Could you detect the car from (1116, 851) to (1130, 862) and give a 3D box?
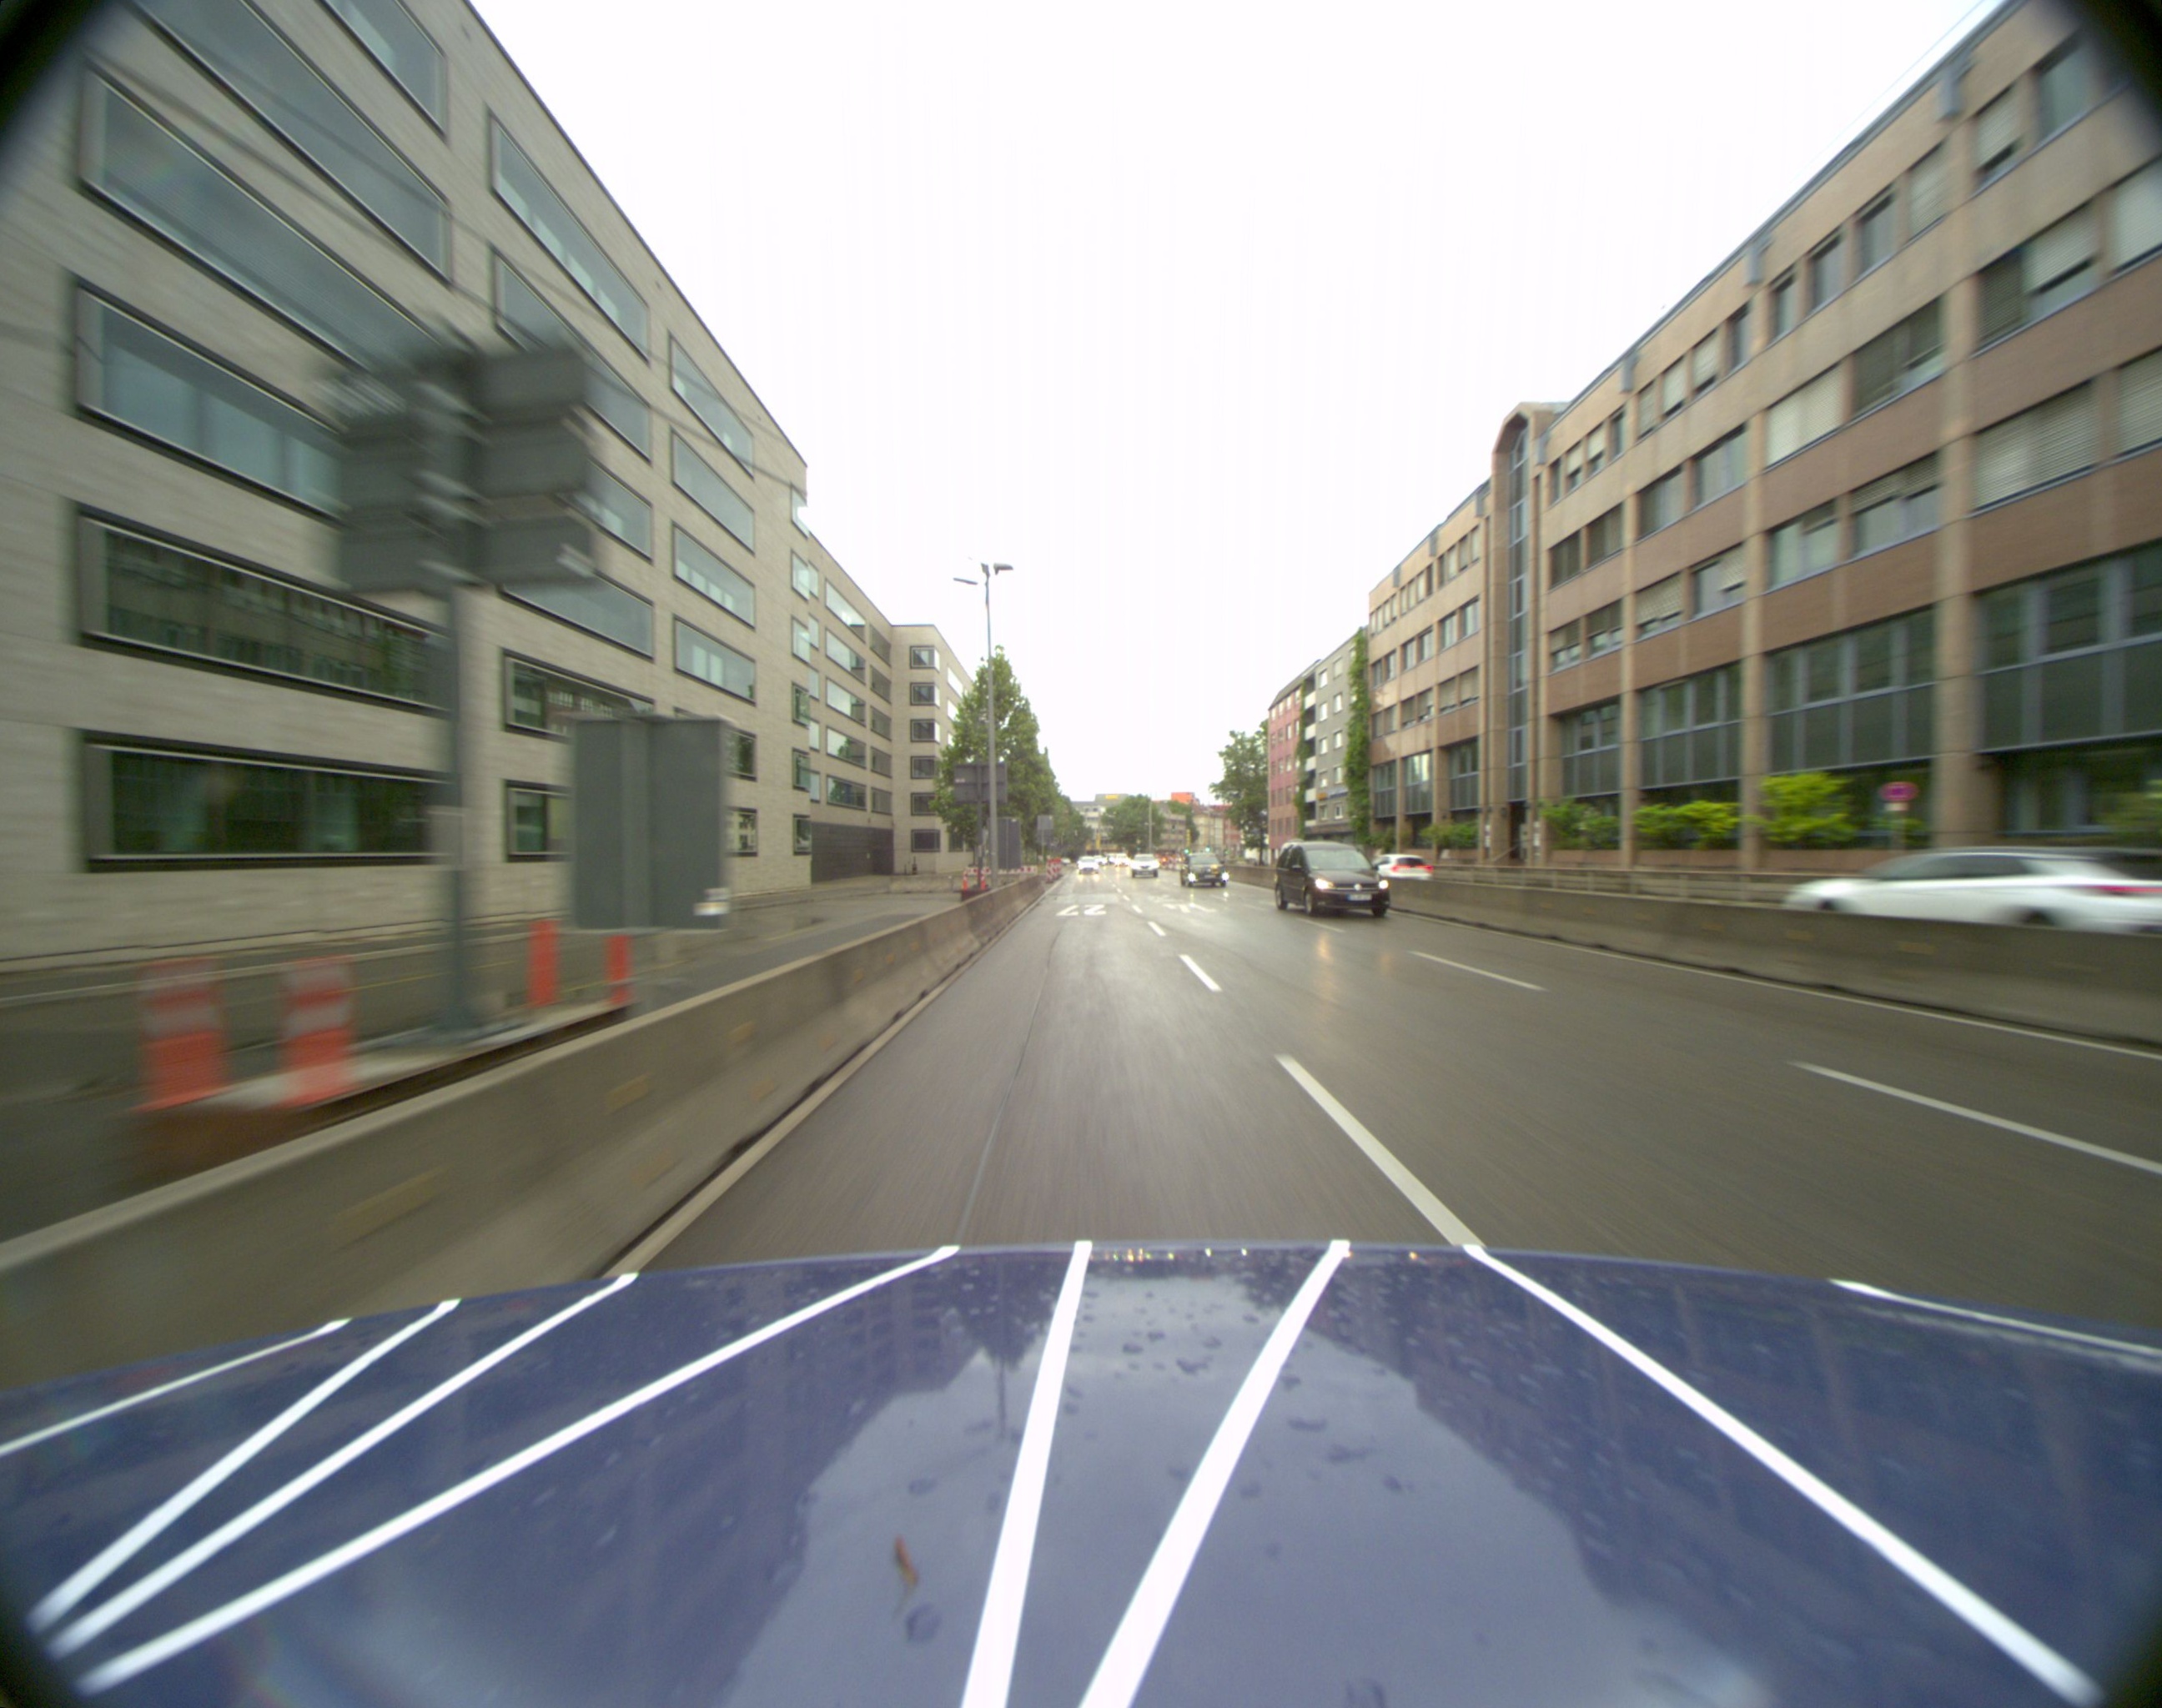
[{"bbox_3d":[5.907,0.336,106.316,1.772,1.524,4.656,-1,0,1],"label":"car"}]

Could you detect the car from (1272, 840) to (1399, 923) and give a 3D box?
[{"bbox_3d":[6.036,0.590,18.577,1.798,1.790,4.251,-1,0,2],"label":"car"}]

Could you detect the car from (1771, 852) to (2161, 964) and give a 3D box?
[{"bbox_3d":[13.010,0.619,10.995,1.849,1.262,4.548,-1,0,-2],"label":"car"}]

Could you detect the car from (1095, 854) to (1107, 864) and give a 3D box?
[{"bbox_3d":[3.044,0.801,118.858,1.772,1.524,4.656,-1,0,1],"label":"car"}]

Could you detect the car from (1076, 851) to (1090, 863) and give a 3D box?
[{"bbox_3d":[0.281,0.364,101.436,1.772,1.524,4.656,-1,0,1],"label":"car"}]

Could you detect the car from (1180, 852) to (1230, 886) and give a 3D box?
[{"bbox_3d":[5.967,0.686,37.051,1.772,1.524,4.356,-1,0,1],"label":"car"}]

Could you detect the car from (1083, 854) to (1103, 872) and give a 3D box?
[{"bbox_3d":[1.075,0.744,67.985,1.772,1.524,4.656,-1,0,1],"label":"car"}]

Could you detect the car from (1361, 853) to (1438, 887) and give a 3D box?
[{"bbox_3d":[13.302,0.625,31.961,1.723,1.312,3.697,-1,0,1],"label":"car"}]

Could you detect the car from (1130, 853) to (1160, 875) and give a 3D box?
[{"bbox_3d":[4.506,0.679,53.843,1.772,1.524,4.656,-1,0,1],"label":"car"}]

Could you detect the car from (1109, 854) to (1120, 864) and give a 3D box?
[{"bbox_3d":[5.541,0.833,126.704,1.772,1.524,4.656,-1,0,1],"label":"car"}]
